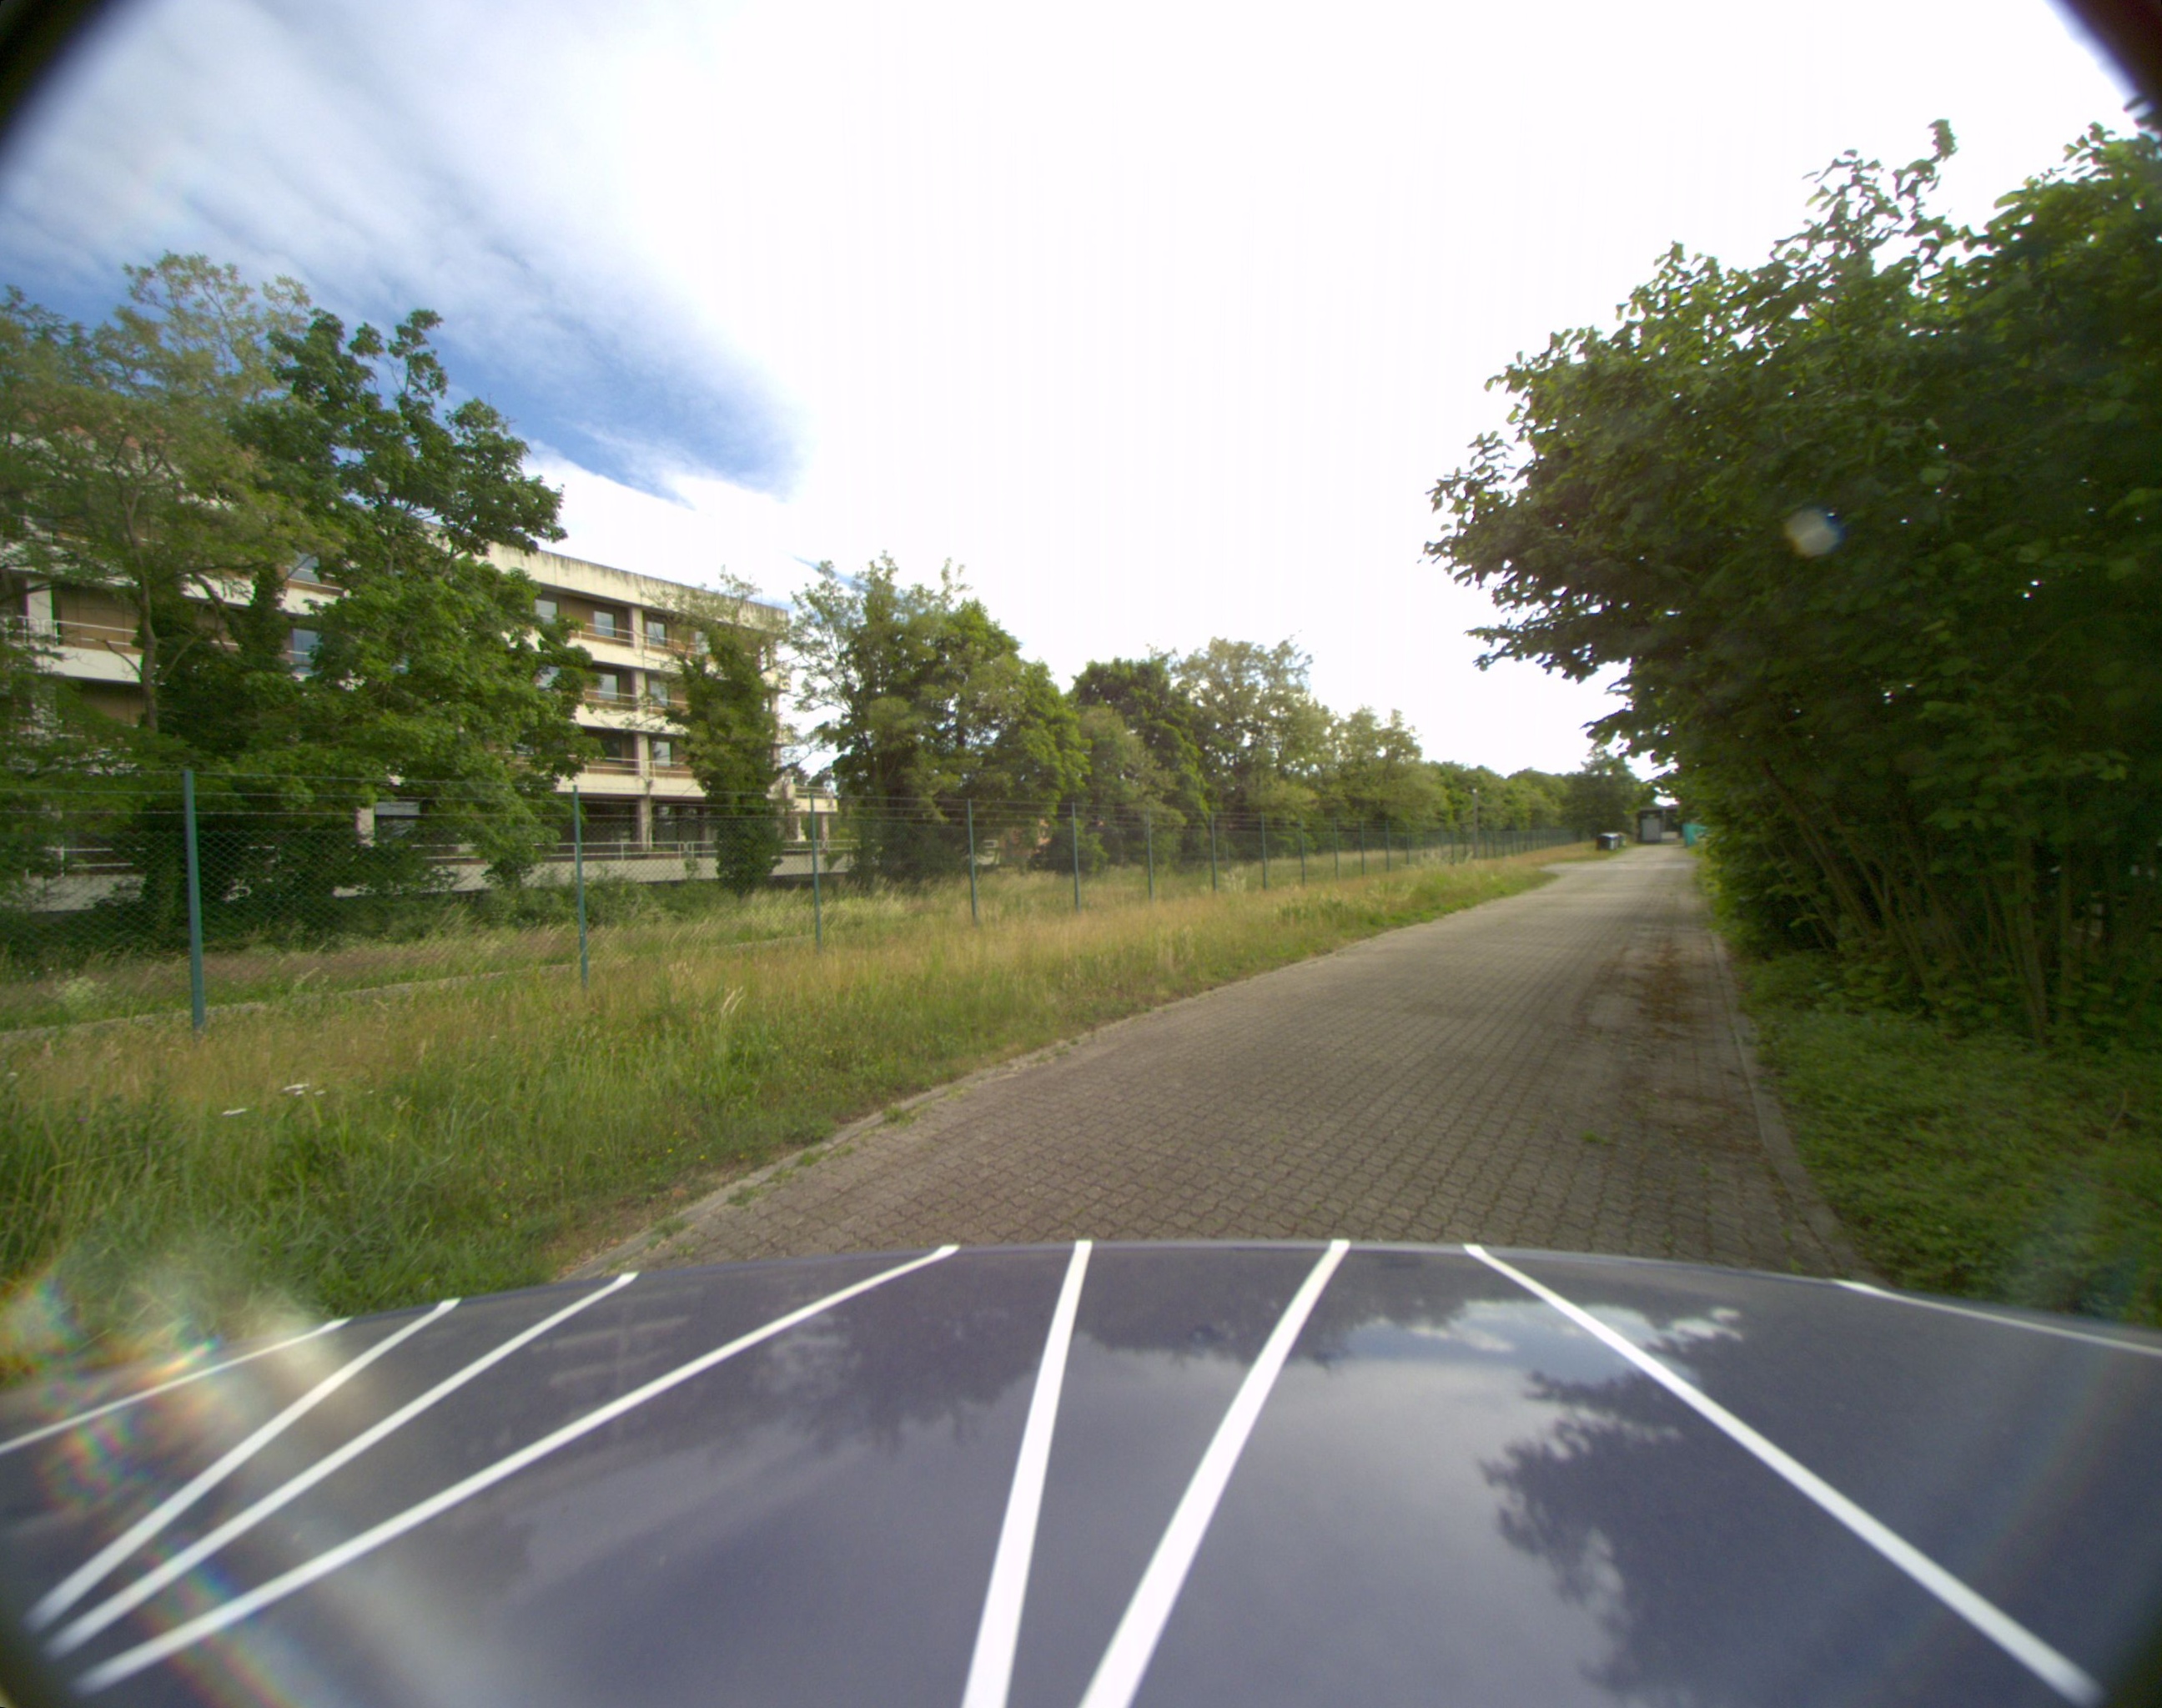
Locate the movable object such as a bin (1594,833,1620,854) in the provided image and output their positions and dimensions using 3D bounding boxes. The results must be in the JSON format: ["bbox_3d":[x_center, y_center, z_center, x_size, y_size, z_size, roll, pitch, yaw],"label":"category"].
[{"bbox_3d":[40.250,-0.820,58.118,1.435,1.489,1.836,-1,1,39],"label":"movable object such as a bin"}]
